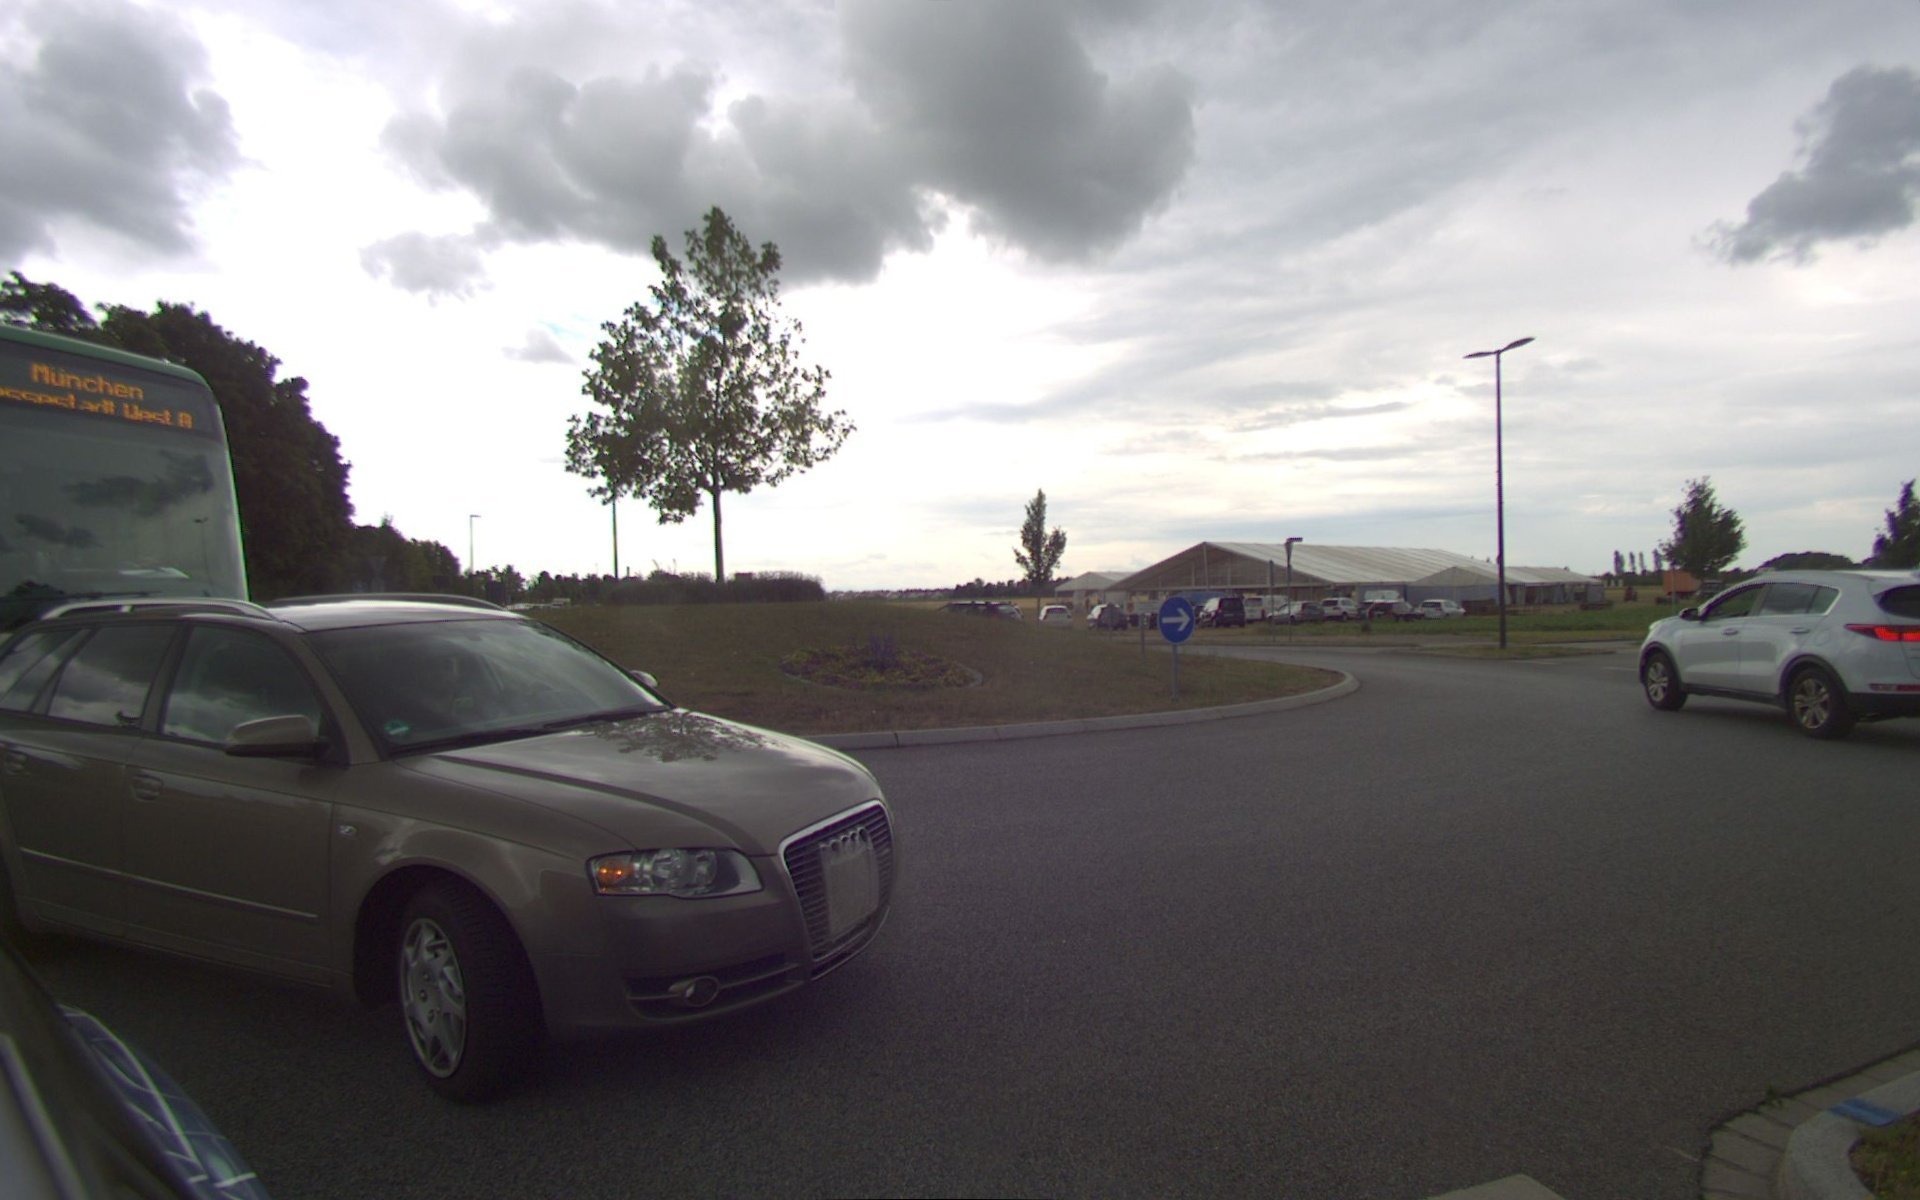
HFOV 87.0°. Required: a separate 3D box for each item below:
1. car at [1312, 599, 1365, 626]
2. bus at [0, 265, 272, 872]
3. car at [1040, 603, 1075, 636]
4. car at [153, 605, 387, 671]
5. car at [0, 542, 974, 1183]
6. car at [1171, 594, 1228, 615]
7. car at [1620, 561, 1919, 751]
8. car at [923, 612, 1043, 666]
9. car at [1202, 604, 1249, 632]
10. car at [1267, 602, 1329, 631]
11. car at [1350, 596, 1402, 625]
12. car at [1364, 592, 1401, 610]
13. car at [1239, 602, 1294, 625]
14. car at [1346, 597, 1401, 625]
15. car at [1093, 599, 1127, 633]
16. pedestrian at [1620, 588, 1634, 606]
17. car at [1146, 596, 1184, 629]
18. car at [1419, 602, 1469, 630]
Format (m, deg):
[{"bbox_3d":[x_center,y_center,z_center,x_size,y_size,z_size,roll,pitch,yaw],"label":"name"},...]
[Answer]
[{"bbox_3d":[24.829,0.810,66.344,3.773,1.618,1.836,-1,0,-44],"label":"car"},{"bbox_3d":[-8.327,-0.164,6.481,6.471,3.283,2.519,0,-1,8],"label":"bus"},{"bbox_3d":[5.448,1.054,56.280,1.696,1.564,3.991,-3,1,7],"label":"car"},{"bbox_3d":[-18.348,0.957,27.317,1.954,1.509,5.263,-1,0,14],"label":"car"},{"bbox_3d":[-2.364,0.669,4.079,4.513,1.476,1.769,-2,-1,24],"label":"car"},{"bbox_3d":[17.919,0.362,75.580,3.933,1.453,1.957,-2,0,-33],"label":"car"},{"bbox_3d":[9.198,0.466,10.847,1.693,1.638,4.442,0,0,6],"label":"car"},{"bbox_3d":[0.739,1.394,35.491,1.746,1.575,4.287,-7,1,-39],"label":"car"},{"bbox_3d":[14.735,0.964,56.350,1.928,1.453,3.991,-1,0,7],"label":"car"},{"bbox_3d":[19.675,0.940,59.085,1.706,1.618,3.885,-1,0,-11],"label":"car"},{"bbox_3d":[23.962,0.586,58.405,1.615,1.618,3.870,-1,0,5],"label":"car"},{"bbox_3d":[39.716,0.079,95.083,3.772,1.618,1.837,-2,0,-44],"label":"car"},{"bbox_3d":[20.808,0.896,68.697,1.953,1.453,3.942,-2,0,45],"label":"car"},{"bbox_3d":[26.360,0.686,64.473,3.773,1.618,1.836,-1,0,-44],"label":"car"},{"bbox_3d":[8.337,0.862,56.541,1.696,1.564,3.991,-3,1,7],"label":"car"},{"bbox_3d":[76.908,-0.362,116.684,1.044,2.029,1.053,-2,0,-40],"label":"pedestrian"},{"bbox_3d":[11.436,0.659,56.685,1.696,1.564,3.991,-3,1,7],"label":"car"},{"bbox_3d":[29.663,0.962,61.953,1.731,1.565,3.945,-1,0,41],"label":"car"}]
